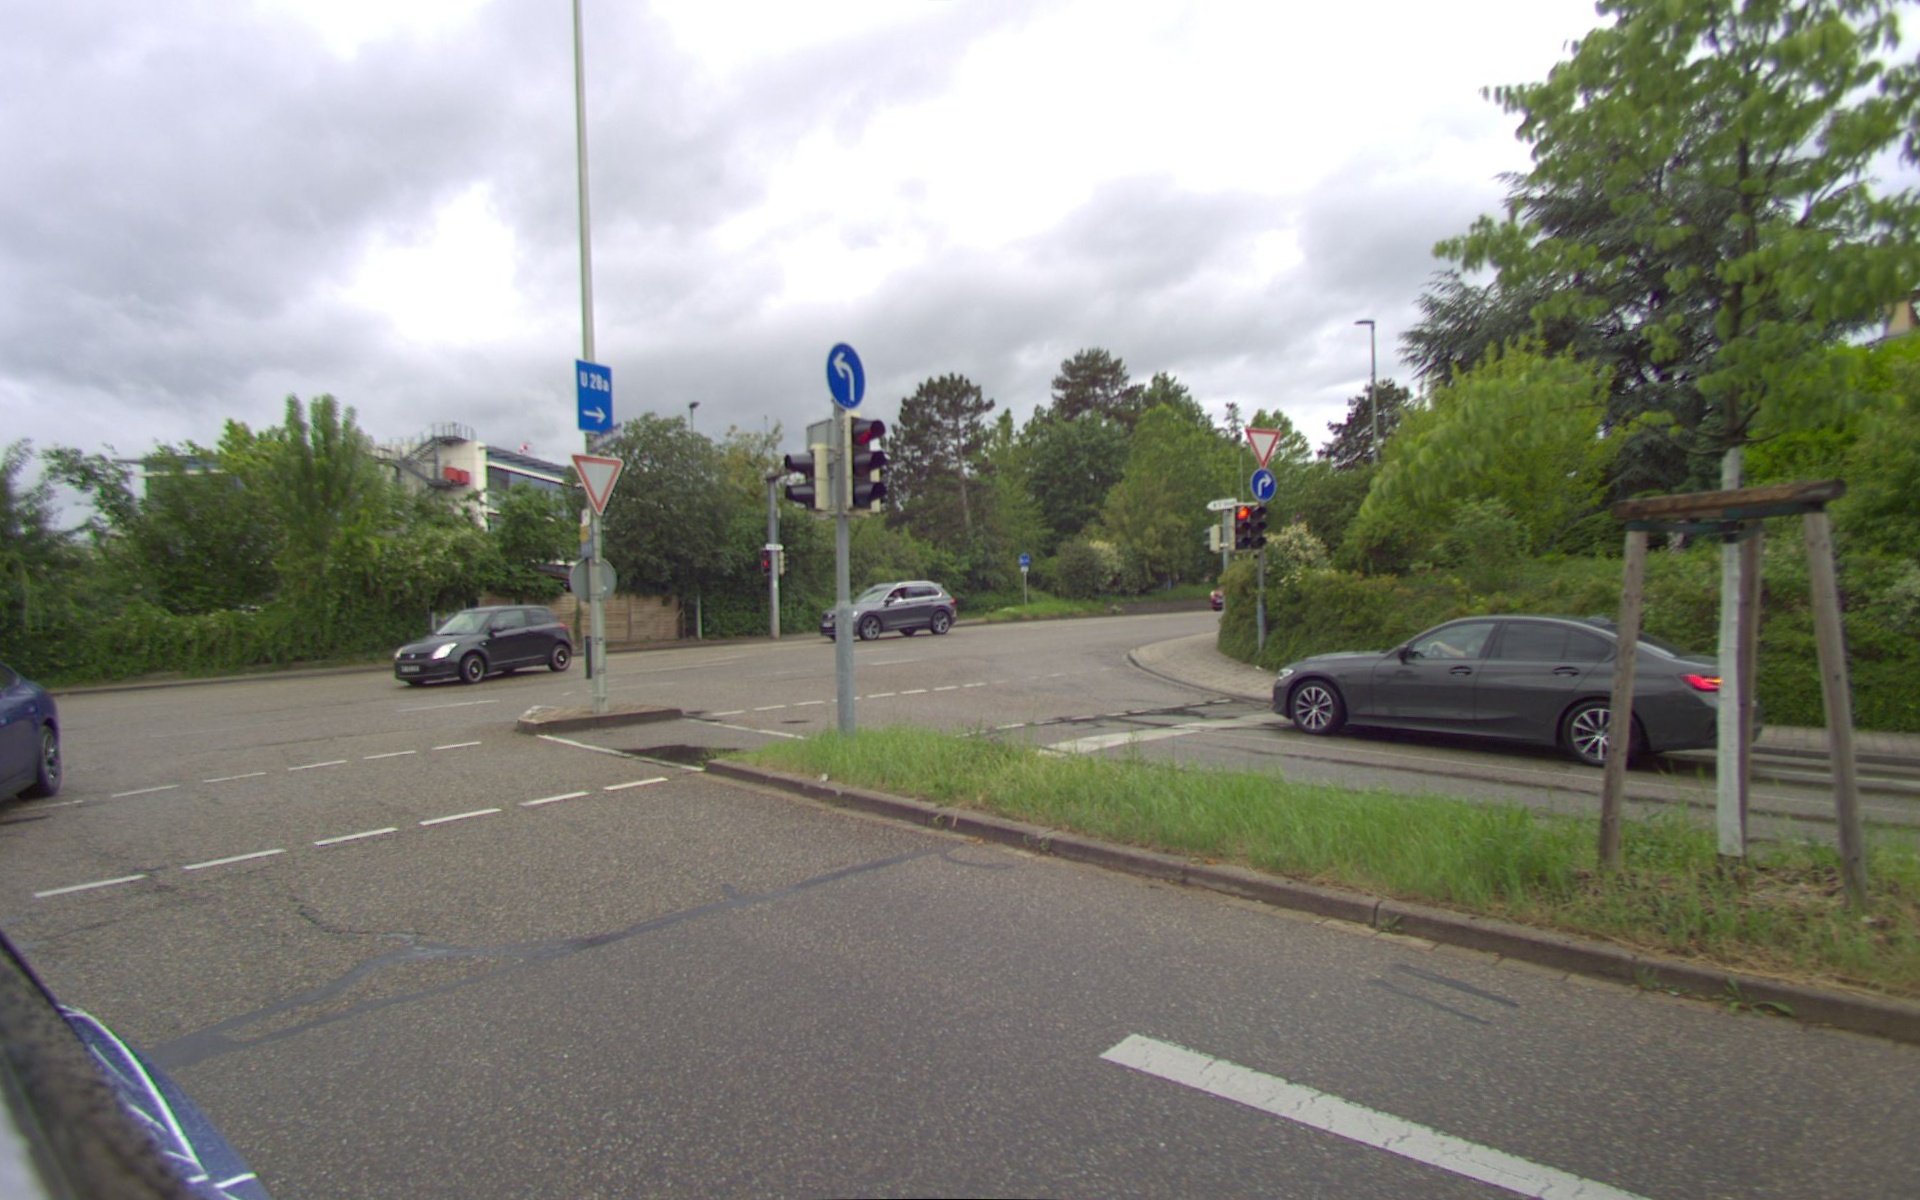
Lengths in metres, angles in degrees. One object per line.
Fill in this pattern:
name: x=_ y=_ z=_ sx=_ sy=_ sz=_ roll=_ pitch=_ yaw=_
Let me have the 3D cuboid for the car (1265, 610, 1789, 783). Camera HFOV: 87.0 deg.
car: x=5.860 y=0.850 z=10.888 sx=1.971 sy=1.448 sz=4.551 roll=0 pitch=-1 yaw=-45

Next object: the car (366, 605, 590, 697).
car: x=-9.901 y=1.000 z=21.125 sx=1.737 sy=1.530 sz=3.966 roll=-3 pitch=1 yaw=25

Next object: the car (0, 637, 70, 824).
car: x=-8.546 y=1.108 z=7.522 sx=1.882 sy=1.507 sz=4.362 roll=-3 pitch=0 yaw=-28

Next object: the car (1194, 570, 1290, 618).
car: x=11.860 y=-0.280 z=42.483 sx=3.936 sy=1.739 sz=1.873 roll=-4 pitch=1 yaw=-38

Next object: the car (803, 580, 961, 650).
car: x=-2.293 y=0.431 z=30.259 sx=4.239 sy=1.763 sz=1.972 roll=-4 pitch=1 yaw=-39
